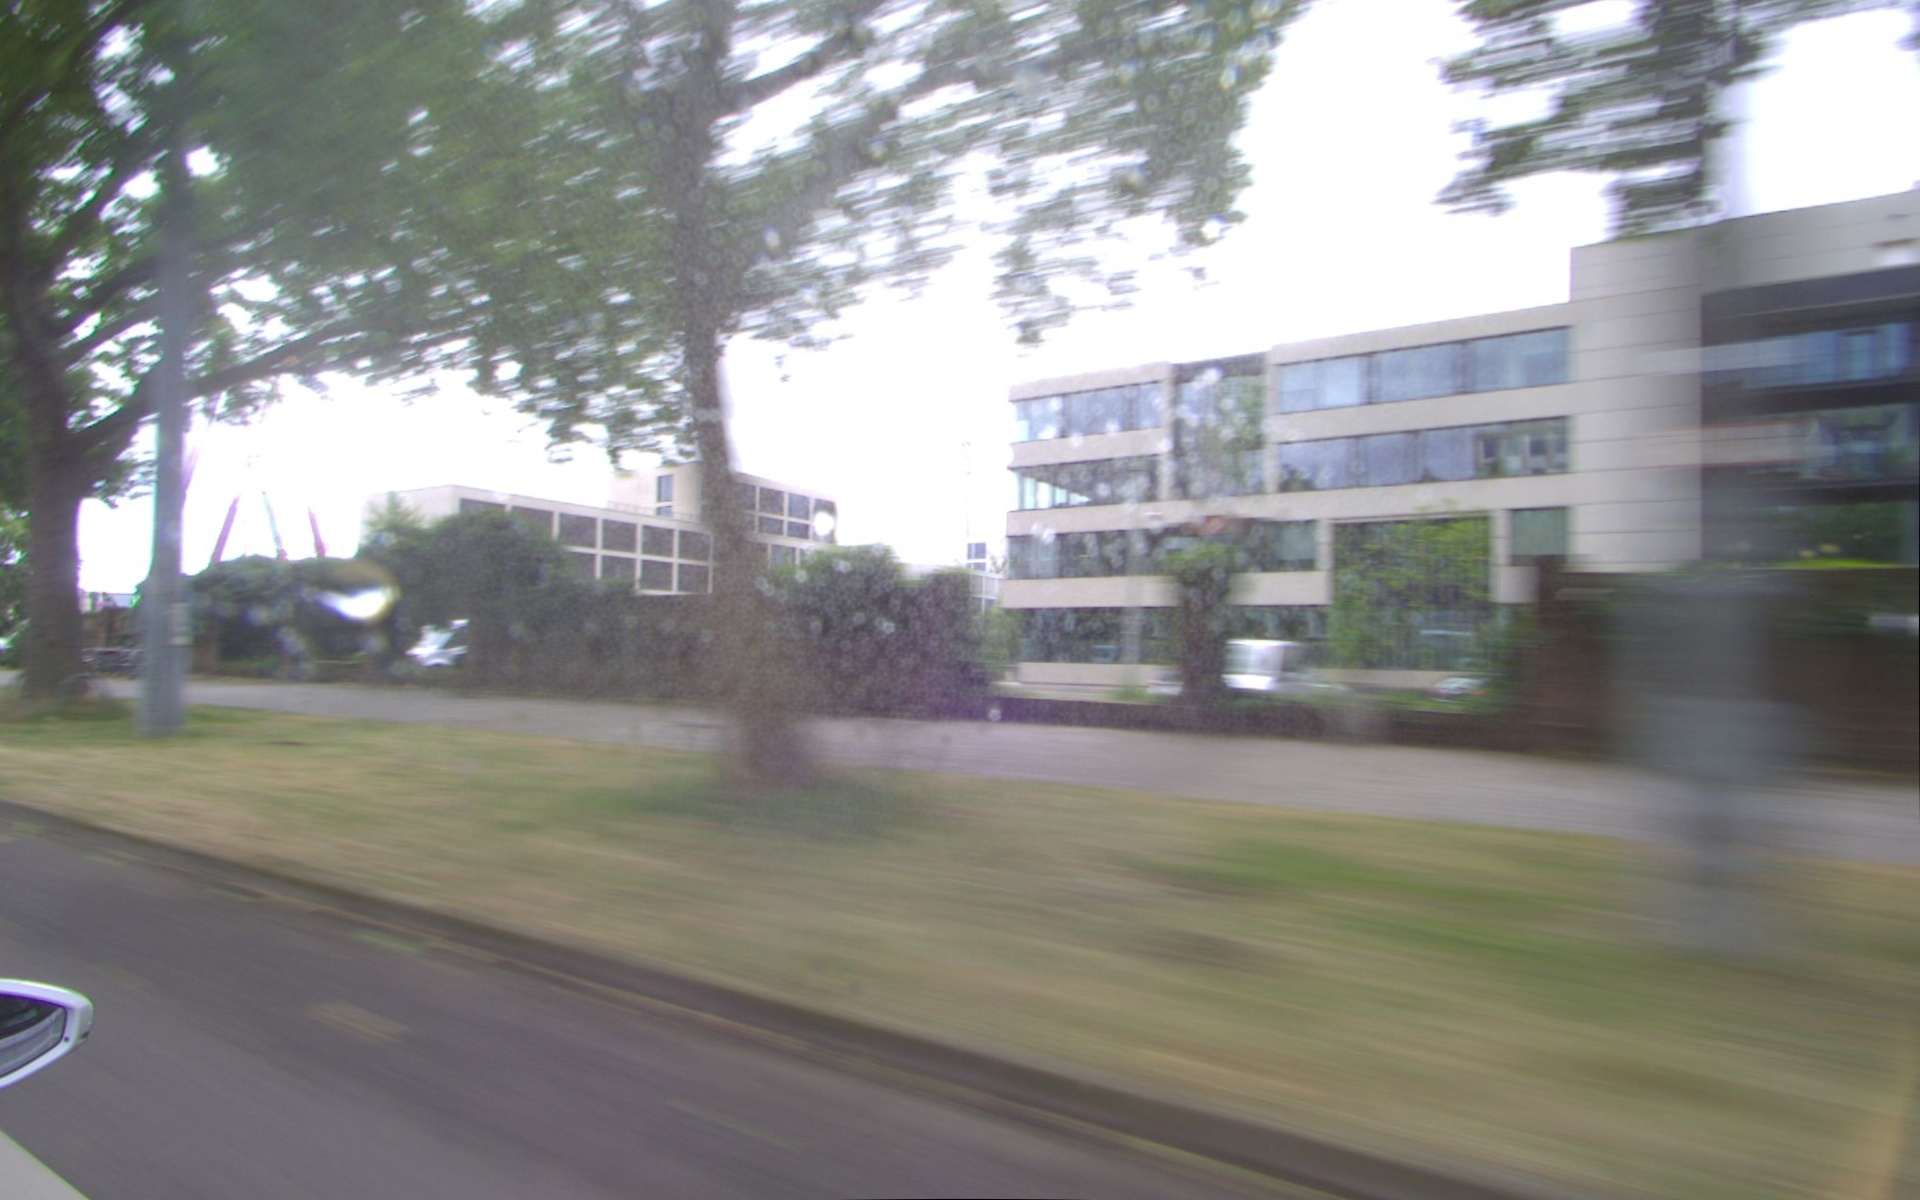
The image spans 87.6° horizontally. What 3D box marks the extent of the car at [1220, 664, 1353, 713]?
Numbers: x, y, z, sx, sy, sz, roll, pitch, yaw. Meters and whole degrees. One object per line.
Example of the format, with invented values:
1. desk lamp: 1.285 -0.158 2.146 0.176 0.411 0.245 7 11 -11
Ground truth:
1. car: 11.629 3.110 35.662 4.342 1.638 1.994 2 -3 -25

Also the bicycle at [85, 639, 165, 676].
1. bicycle: -26.824 1.827 32.200 0.542 1.119 1.888 -1 -1 30

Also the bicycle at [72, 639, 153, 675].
1. bicycle: -27.803 1.850 32.900 0.542 1.109 1.972 -1 -1 30

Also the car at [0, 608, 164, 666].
1. car: -43.845 1.923 50.177 2.010 2.565 5.783 -1 -5 31

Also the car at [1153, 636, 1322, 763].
1. car: 5.339 1.741 18.754 1.970 2.038 4.874 -1 -3 29

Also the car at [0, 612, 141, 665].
1. car: -46.678 2.048 52.012 2.069 2.587 6.019 -1 -3 30

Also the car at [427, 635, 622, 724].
1. car: -13.093 2.444 30.537 2.044 2.450 5.233 -1 -5 29

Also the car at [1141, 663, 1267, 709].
1. car: 9.223 3.215 37.856 4.342 1.638 1.994 2 -3 -25

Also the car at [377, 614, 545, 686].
1. car: -16.979 1.780 34.380 1.641 2.291 5.095 -1 -4 29

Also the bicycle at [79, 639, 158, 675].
1. bicycle: -27.302 1.828 32.513 0.542 1.111 1.898 -1 -1 30

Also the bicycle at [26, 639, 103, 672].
1. bicycle: -31.152 1.925 34.869 0.542 1.105 1.919 -1 -1 30
